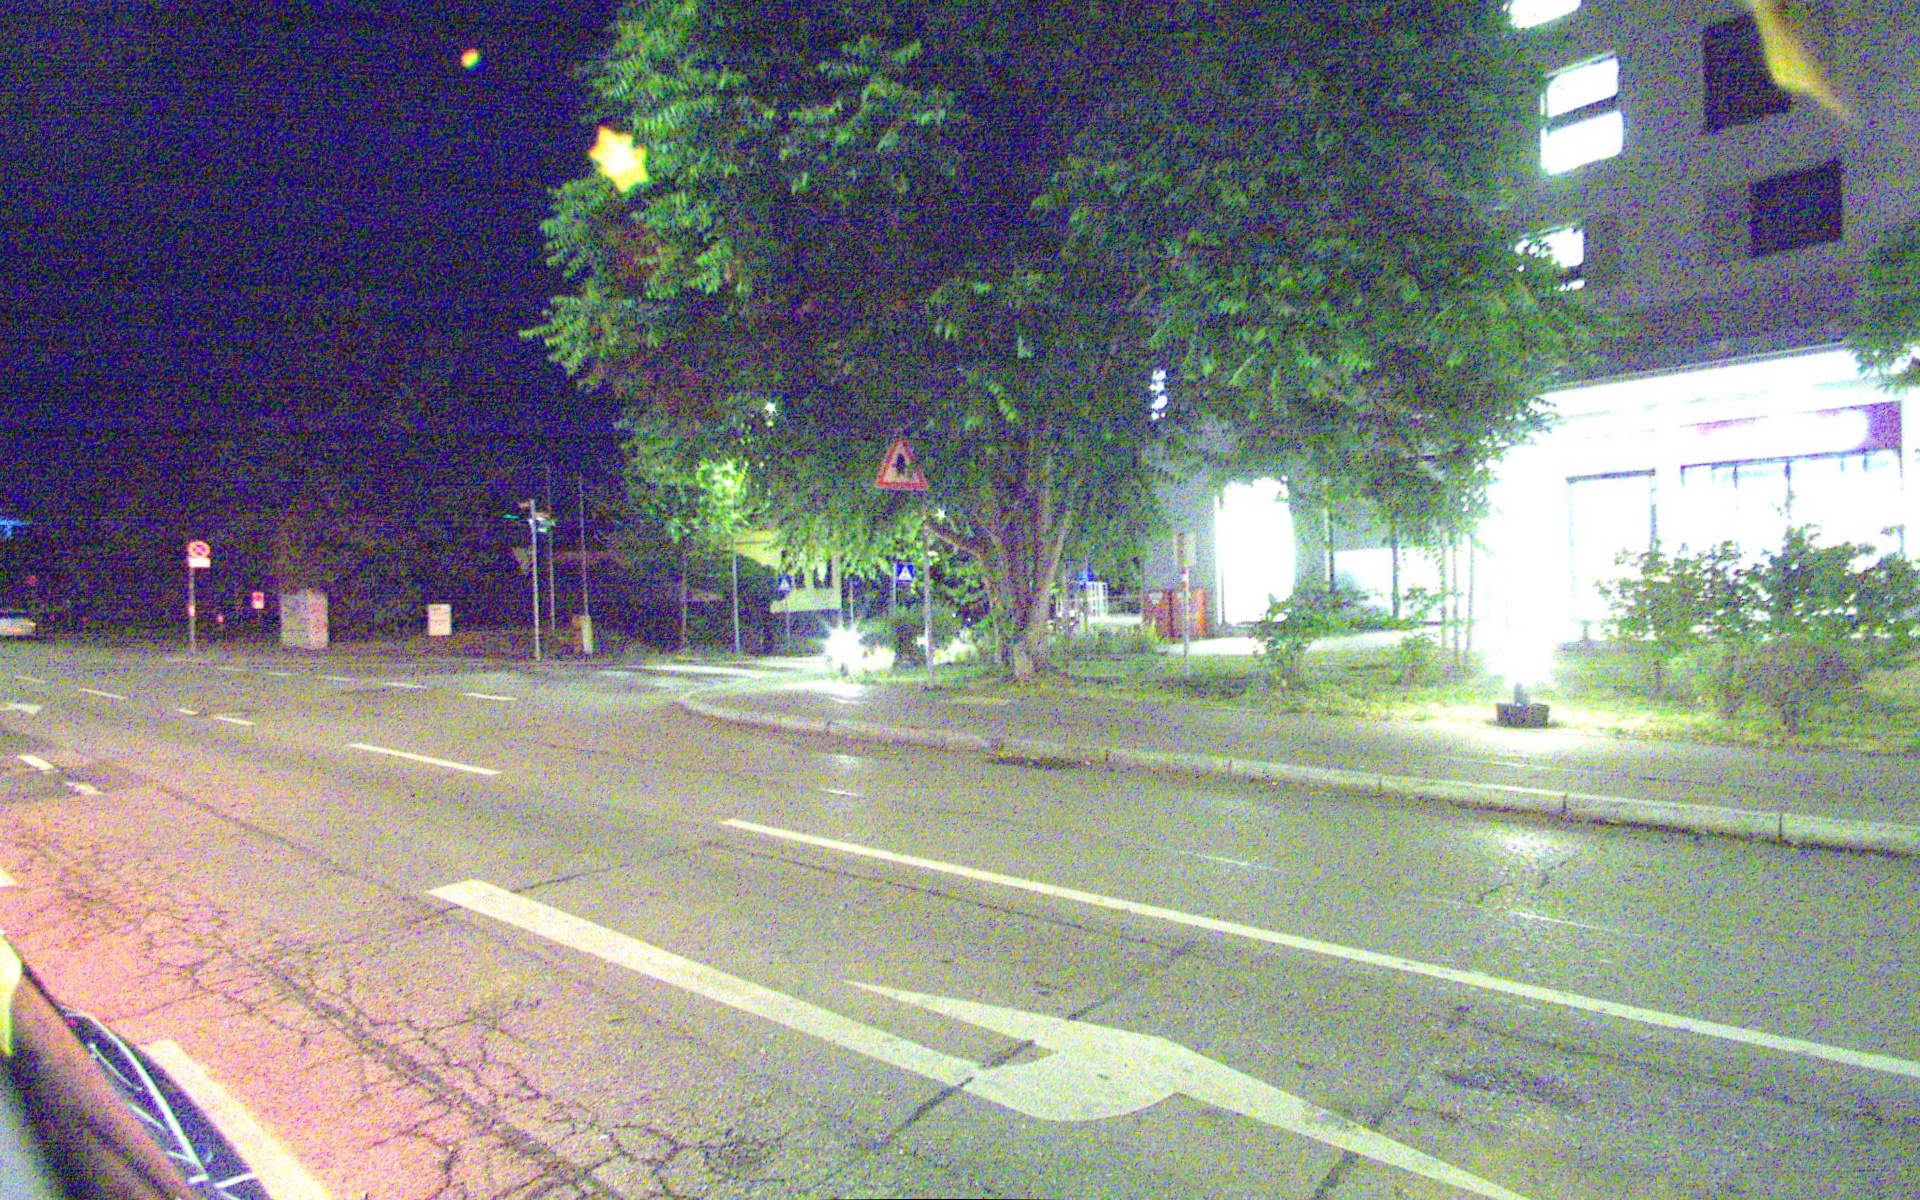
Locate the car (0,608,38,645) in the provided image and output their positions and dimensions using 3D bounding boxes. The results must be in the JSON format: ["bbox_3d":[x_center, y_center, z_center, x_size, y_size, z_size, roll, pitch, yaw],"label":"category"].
[{"bbox_3d":[-43.177,1.176,45.636,3.995,1.604,1.784,-1,0,39],"label":"car"}]

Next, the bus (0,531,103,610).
[{"bbox_3d":[-88.416,-2.626,98.129,14.776,6.990,6.056,-1,0,41],"label":"bus"}]
